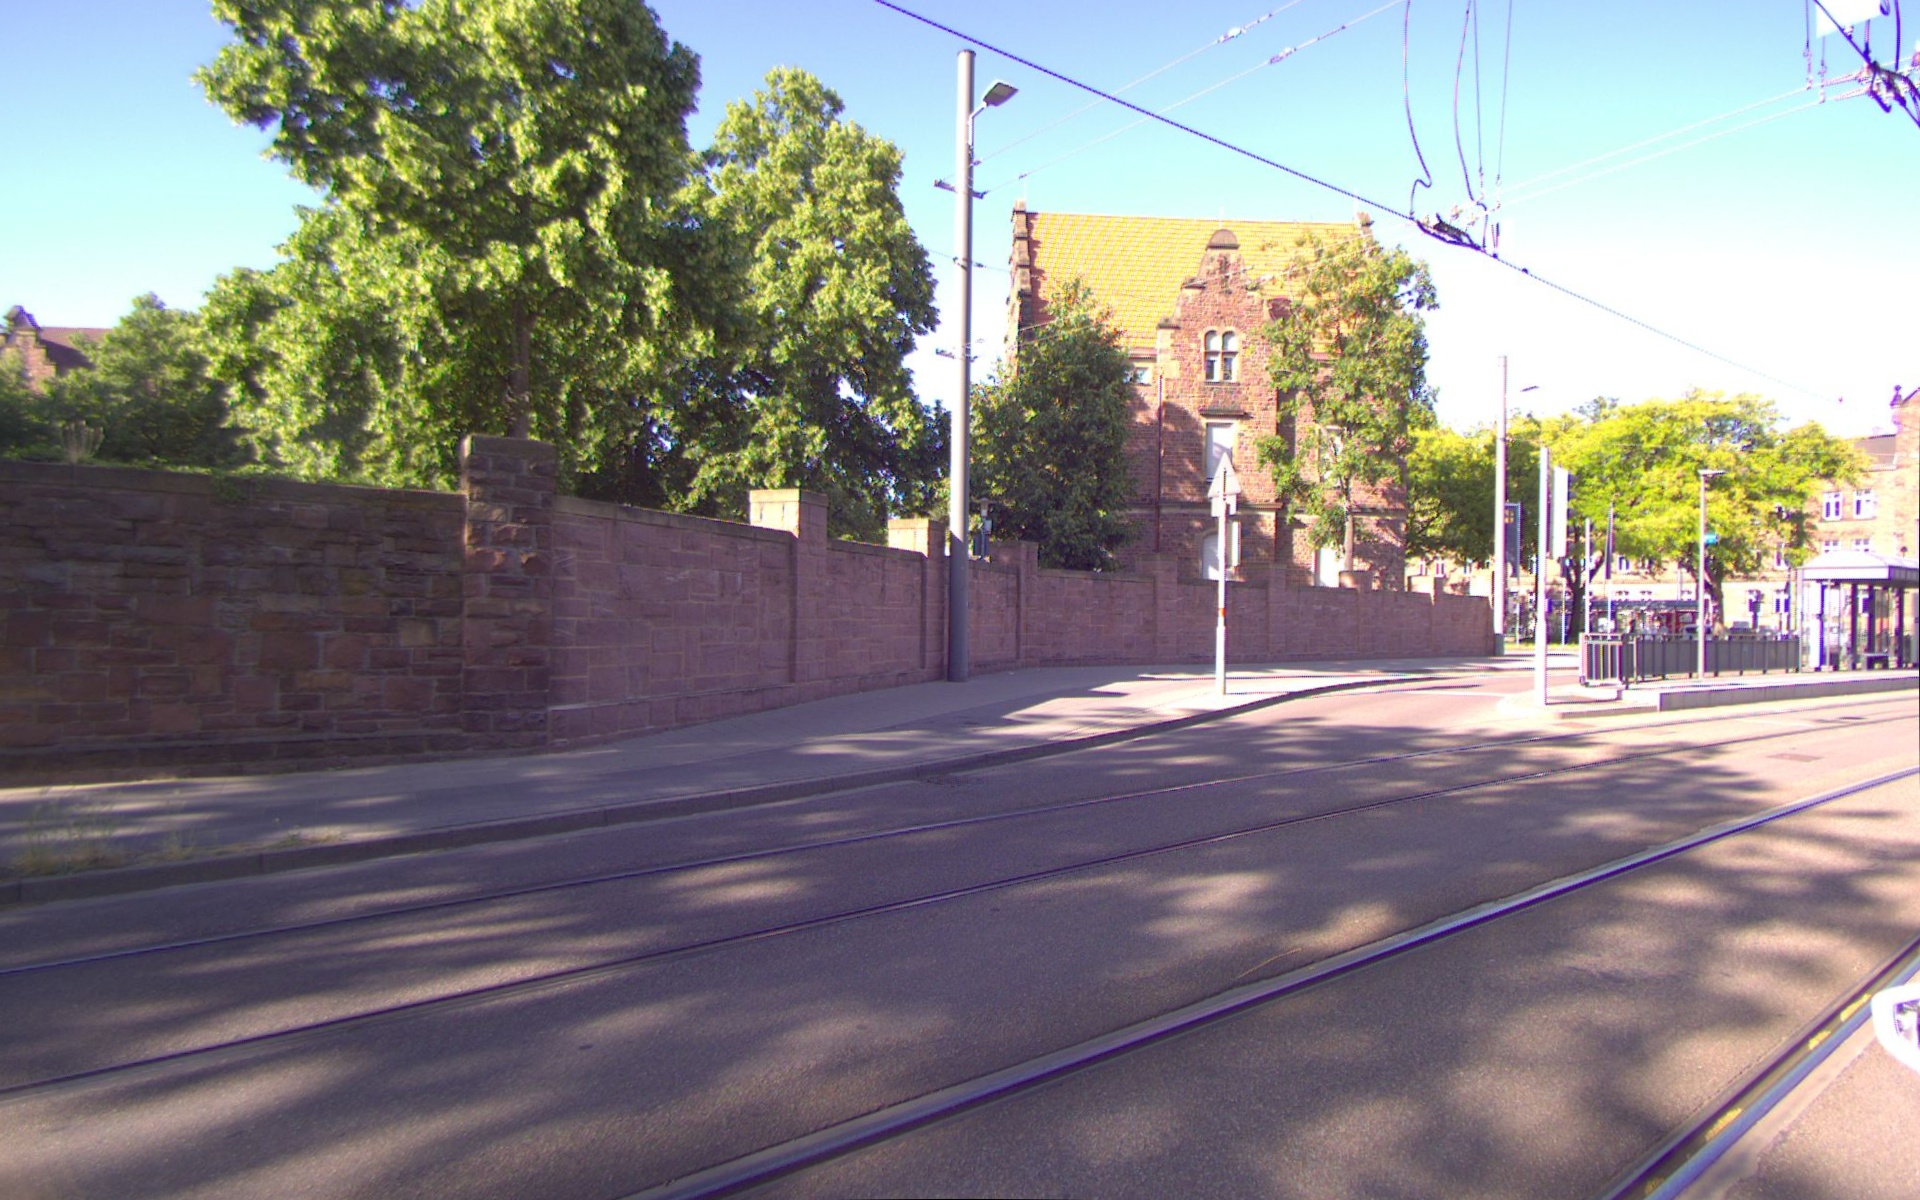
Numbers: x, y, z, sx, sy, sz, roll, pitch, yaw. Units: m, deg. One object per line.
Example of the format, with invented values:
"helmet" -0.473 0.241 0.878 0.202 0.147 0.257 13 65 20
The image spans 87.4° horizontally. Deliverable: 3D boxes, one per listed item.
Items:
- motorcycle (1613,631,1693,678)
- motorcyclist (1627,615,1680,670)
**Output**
"motorcycle" 18.310 1.408 26.517 2.403 1.169 0.906 1 -1 -34
"motorcyclist" 18.280 1.116 26.493 0.899 1.401 0.883 1 0 -34
